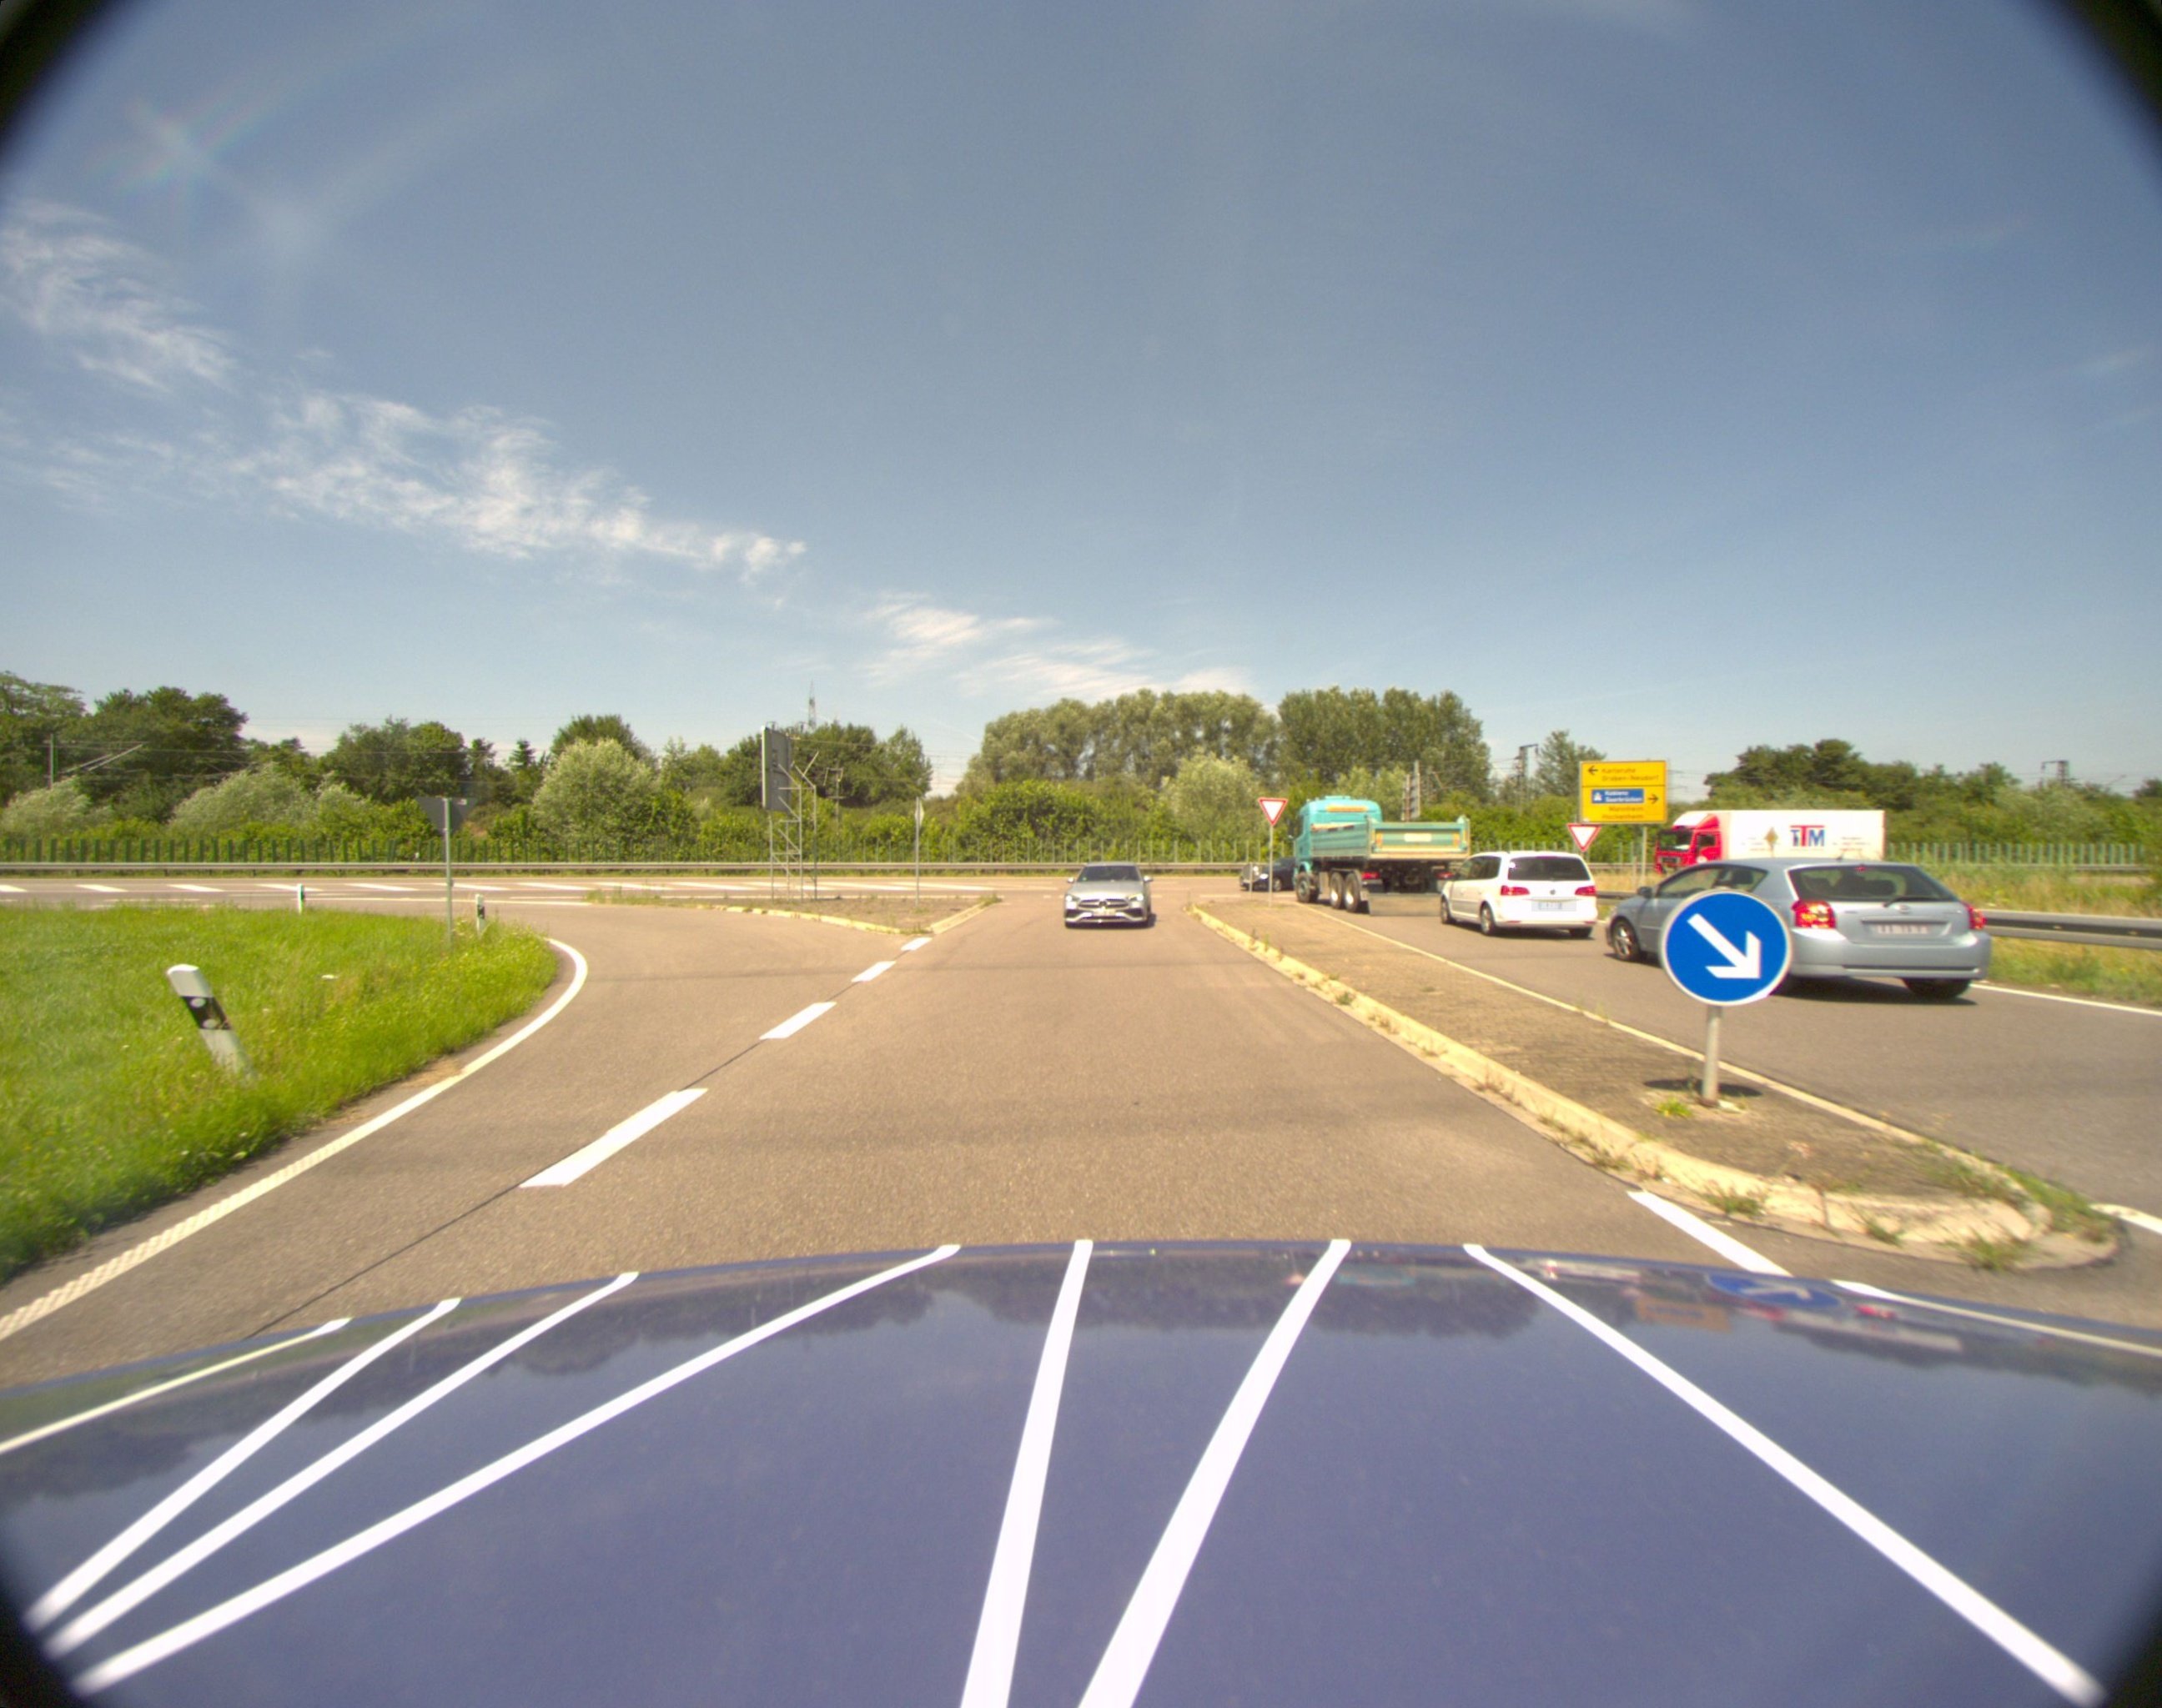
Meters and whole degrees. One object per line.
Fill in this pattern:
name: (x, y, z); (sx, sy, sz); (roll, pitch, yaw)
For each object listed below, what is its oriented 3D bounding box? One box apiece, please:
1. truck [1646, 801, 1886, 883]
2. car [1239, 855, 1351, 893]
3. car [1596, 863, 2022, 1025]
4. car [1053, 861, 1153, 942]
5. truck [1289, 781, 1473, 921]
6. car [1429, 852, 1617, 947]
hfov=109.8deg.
truck: (32.944, -0.574, 36.715); (9.551, 3.558, 2.724); (-2, 1, -4)
car: (8.940, 0.829, 31.985); (4.147, 1.432, 1.823); (0, 3, -6)
car: (8.022, 0.842, 8.988); (1.635, 1.451, 4.011); (0, 0, 9)
car: (0.621, 0.943, 16.916); (1.823, 1.478, 4.151); (1, 0, 7)
truck: (8.516, -0.062, 22.720); (2.608, 3.451, 7.610); (0, 0, 1)
car: (8.620, 0.818, 15.298); (1.775, 1.611, 4.334); (-2, -1, 9)
